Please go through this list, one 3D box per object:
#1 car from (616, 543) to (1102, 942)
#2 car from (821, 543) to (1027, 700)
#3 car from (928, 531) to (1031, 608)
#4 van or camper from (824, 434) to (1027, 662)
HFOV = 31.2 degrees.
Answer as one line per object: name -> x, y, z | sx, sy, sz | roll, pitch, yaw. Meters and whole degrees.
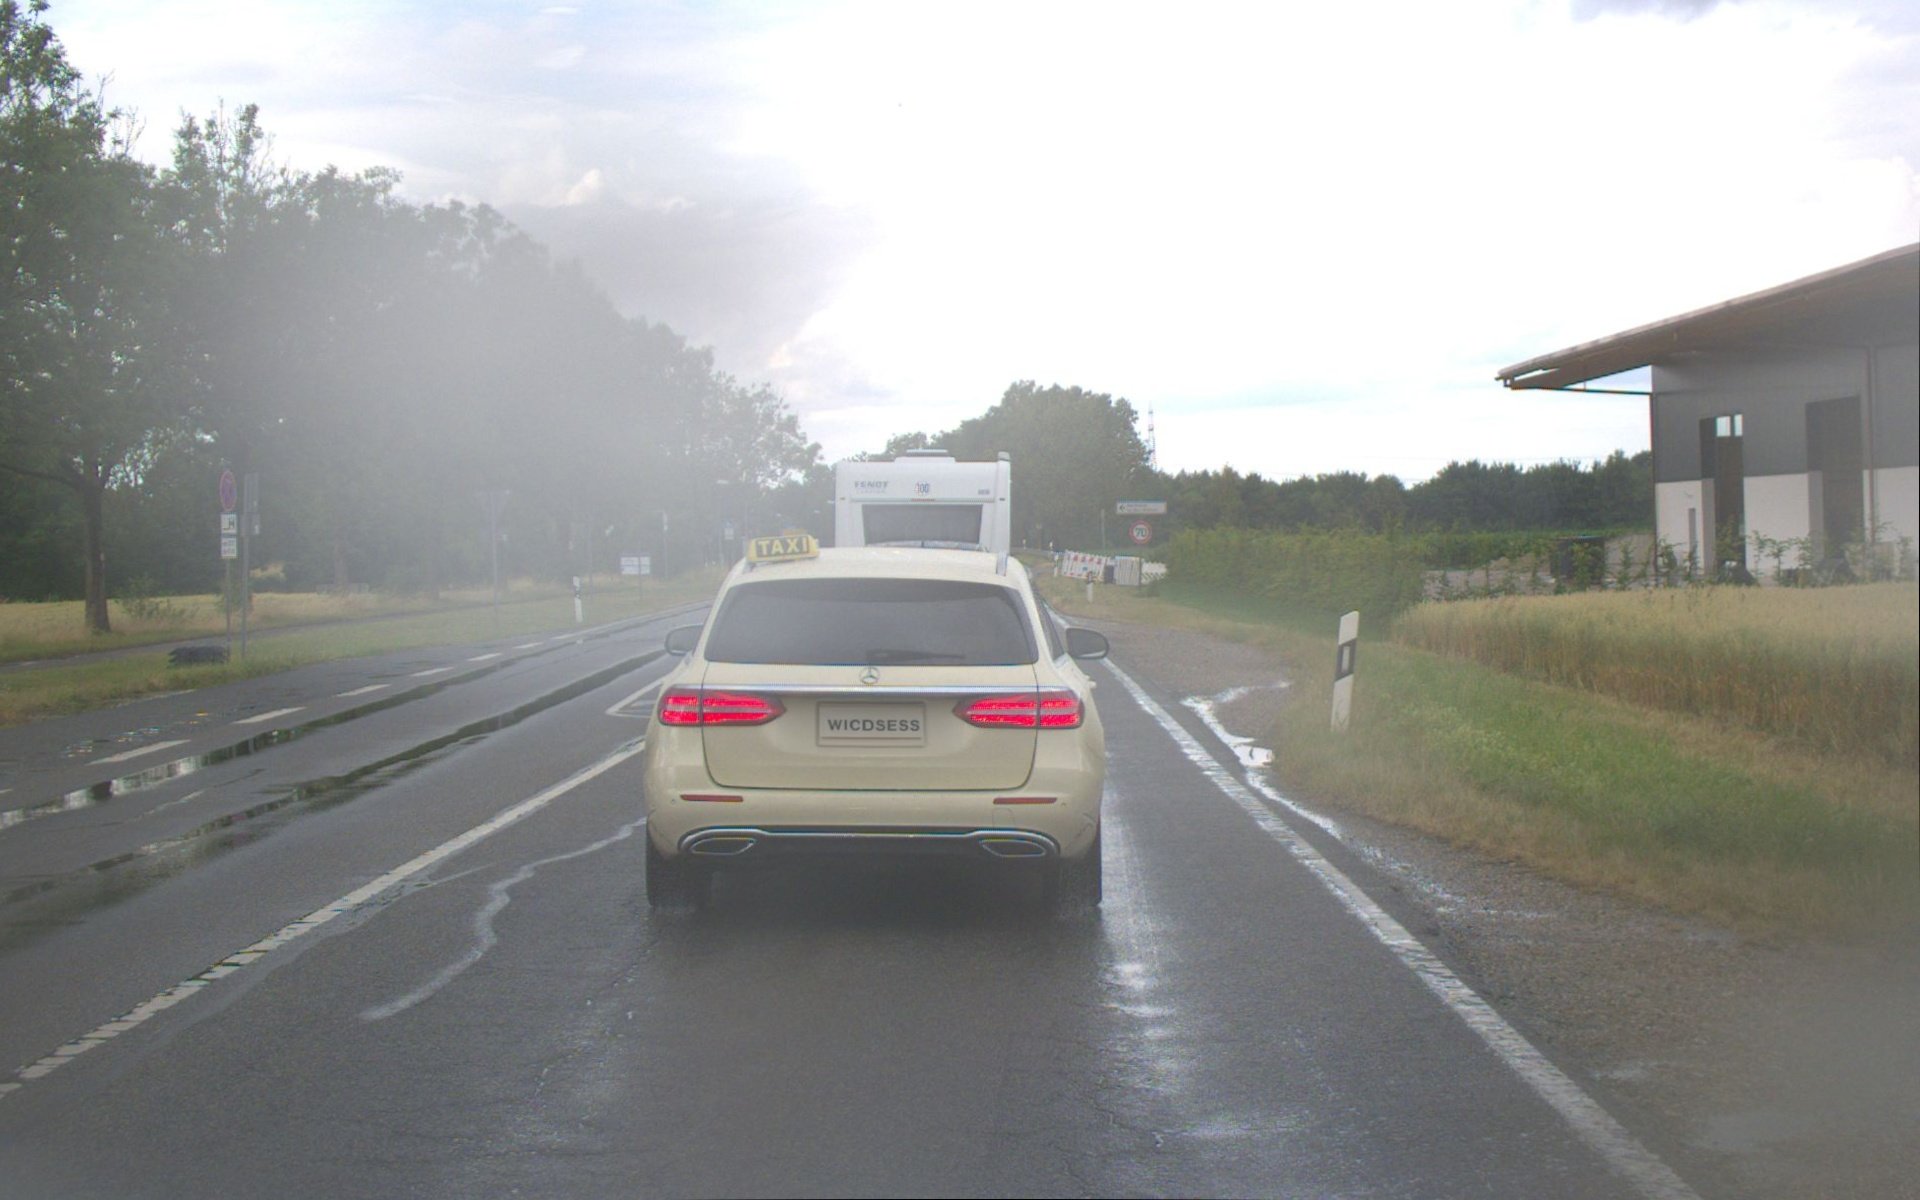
car -> -0.361, 0.497, 14.784 | 1.797, 1.459, 4.031 | 0, 1, 0
car -> -0.349, 0.168, 33.681 | 1.894, 1.424, 3.928 | 0, 1, -1
car -> 0.446, -0.673, 73.543 | 1.895, 1.585, 3.927 | 0, 1, 5
van or camper -> -0.397, -0.715, 46.913 | 2.497, 2.821, 5.934 | -2, 1, 1
